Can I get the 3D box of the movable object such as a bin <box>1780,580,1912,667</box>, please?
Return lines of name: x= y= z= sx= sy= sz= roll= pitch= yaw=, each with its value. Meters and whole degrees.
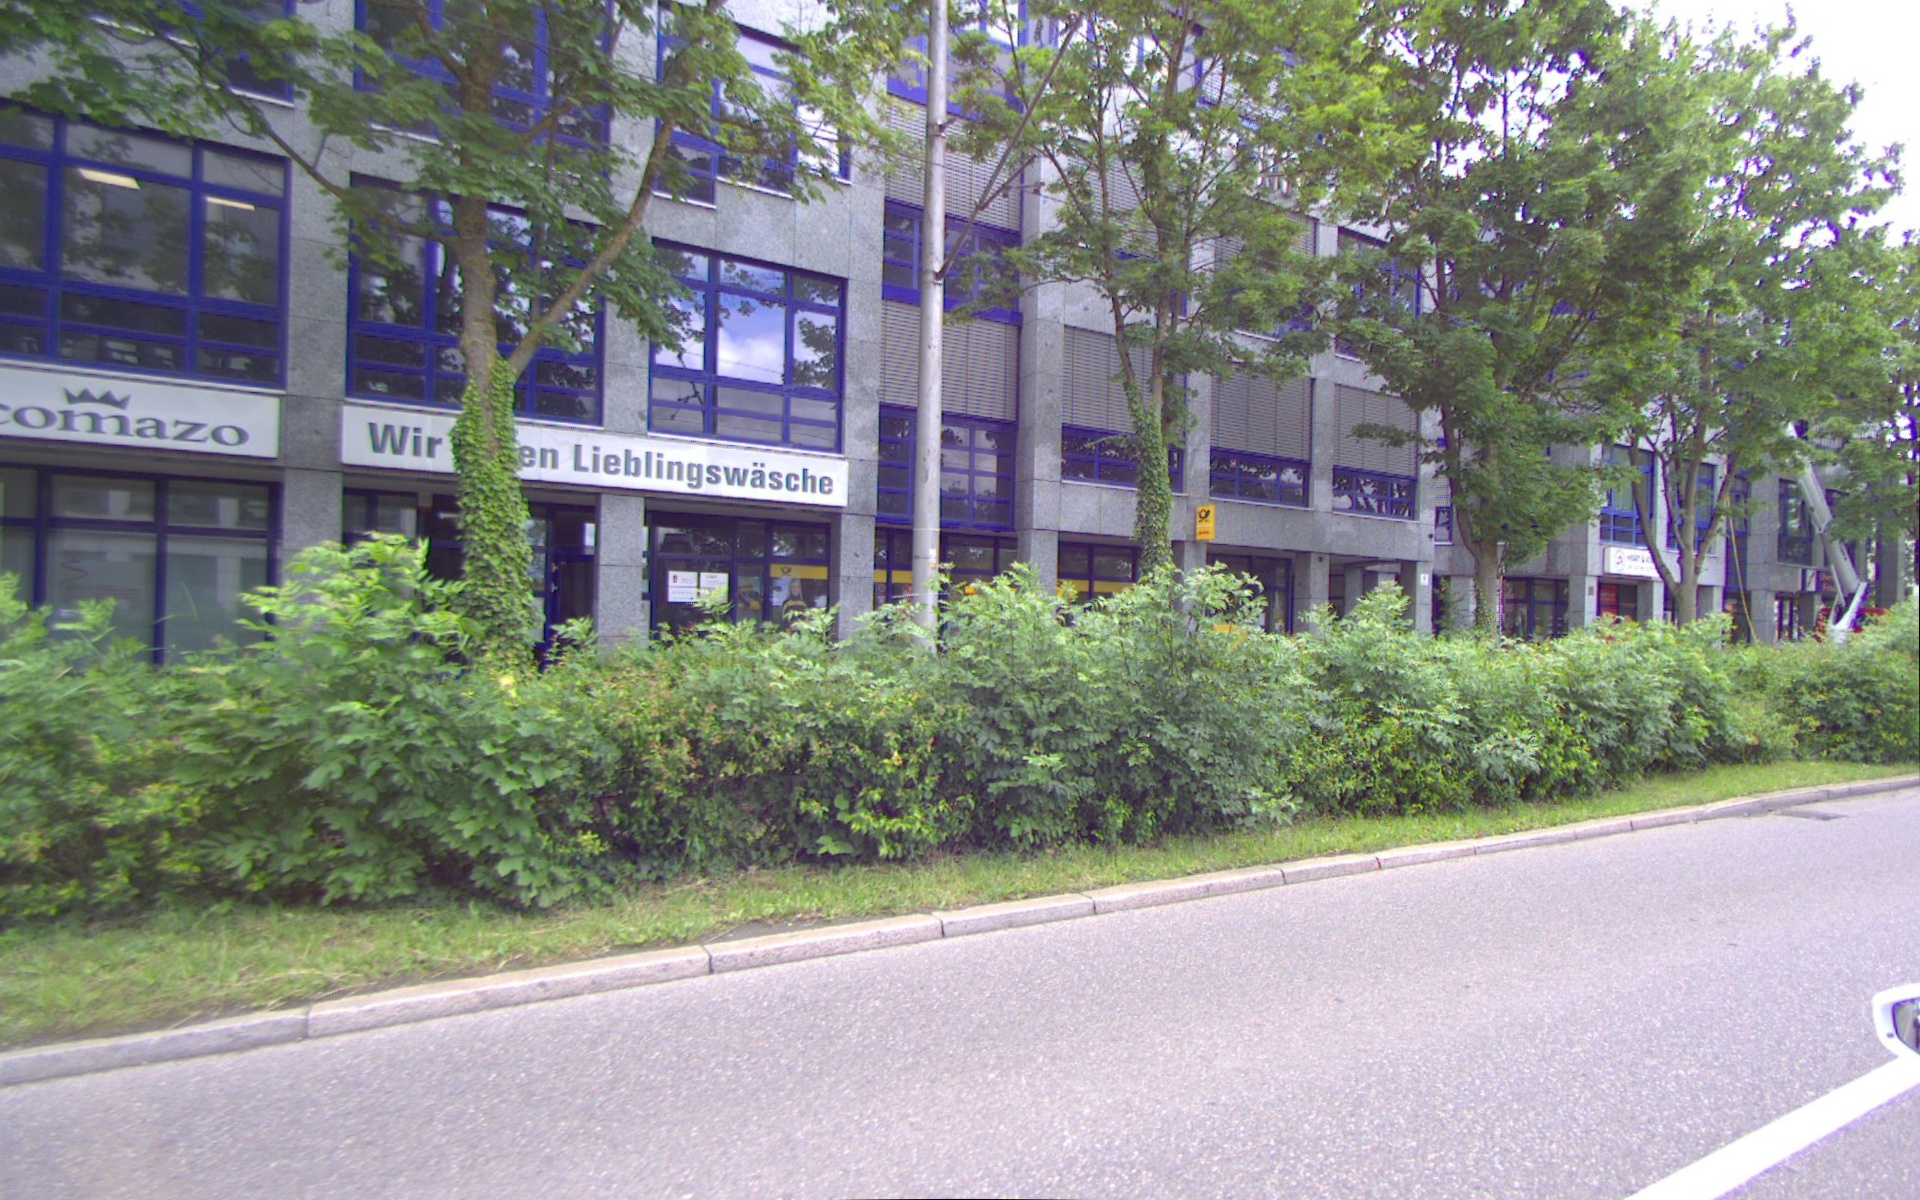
movable object such as a bin: x=28.026 y=0.743 z=31.752 sx=4.080 sy=2.565 sz=1.895 roll=2 pitch=2 yaw=-31

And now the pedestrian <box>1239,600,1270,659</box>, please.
pedestrian: x=6.895 y=0.684 z=23.519 sx=0.552 sy=1.352 sz=0.362 roll=1 pitch=3 yaw=-35
